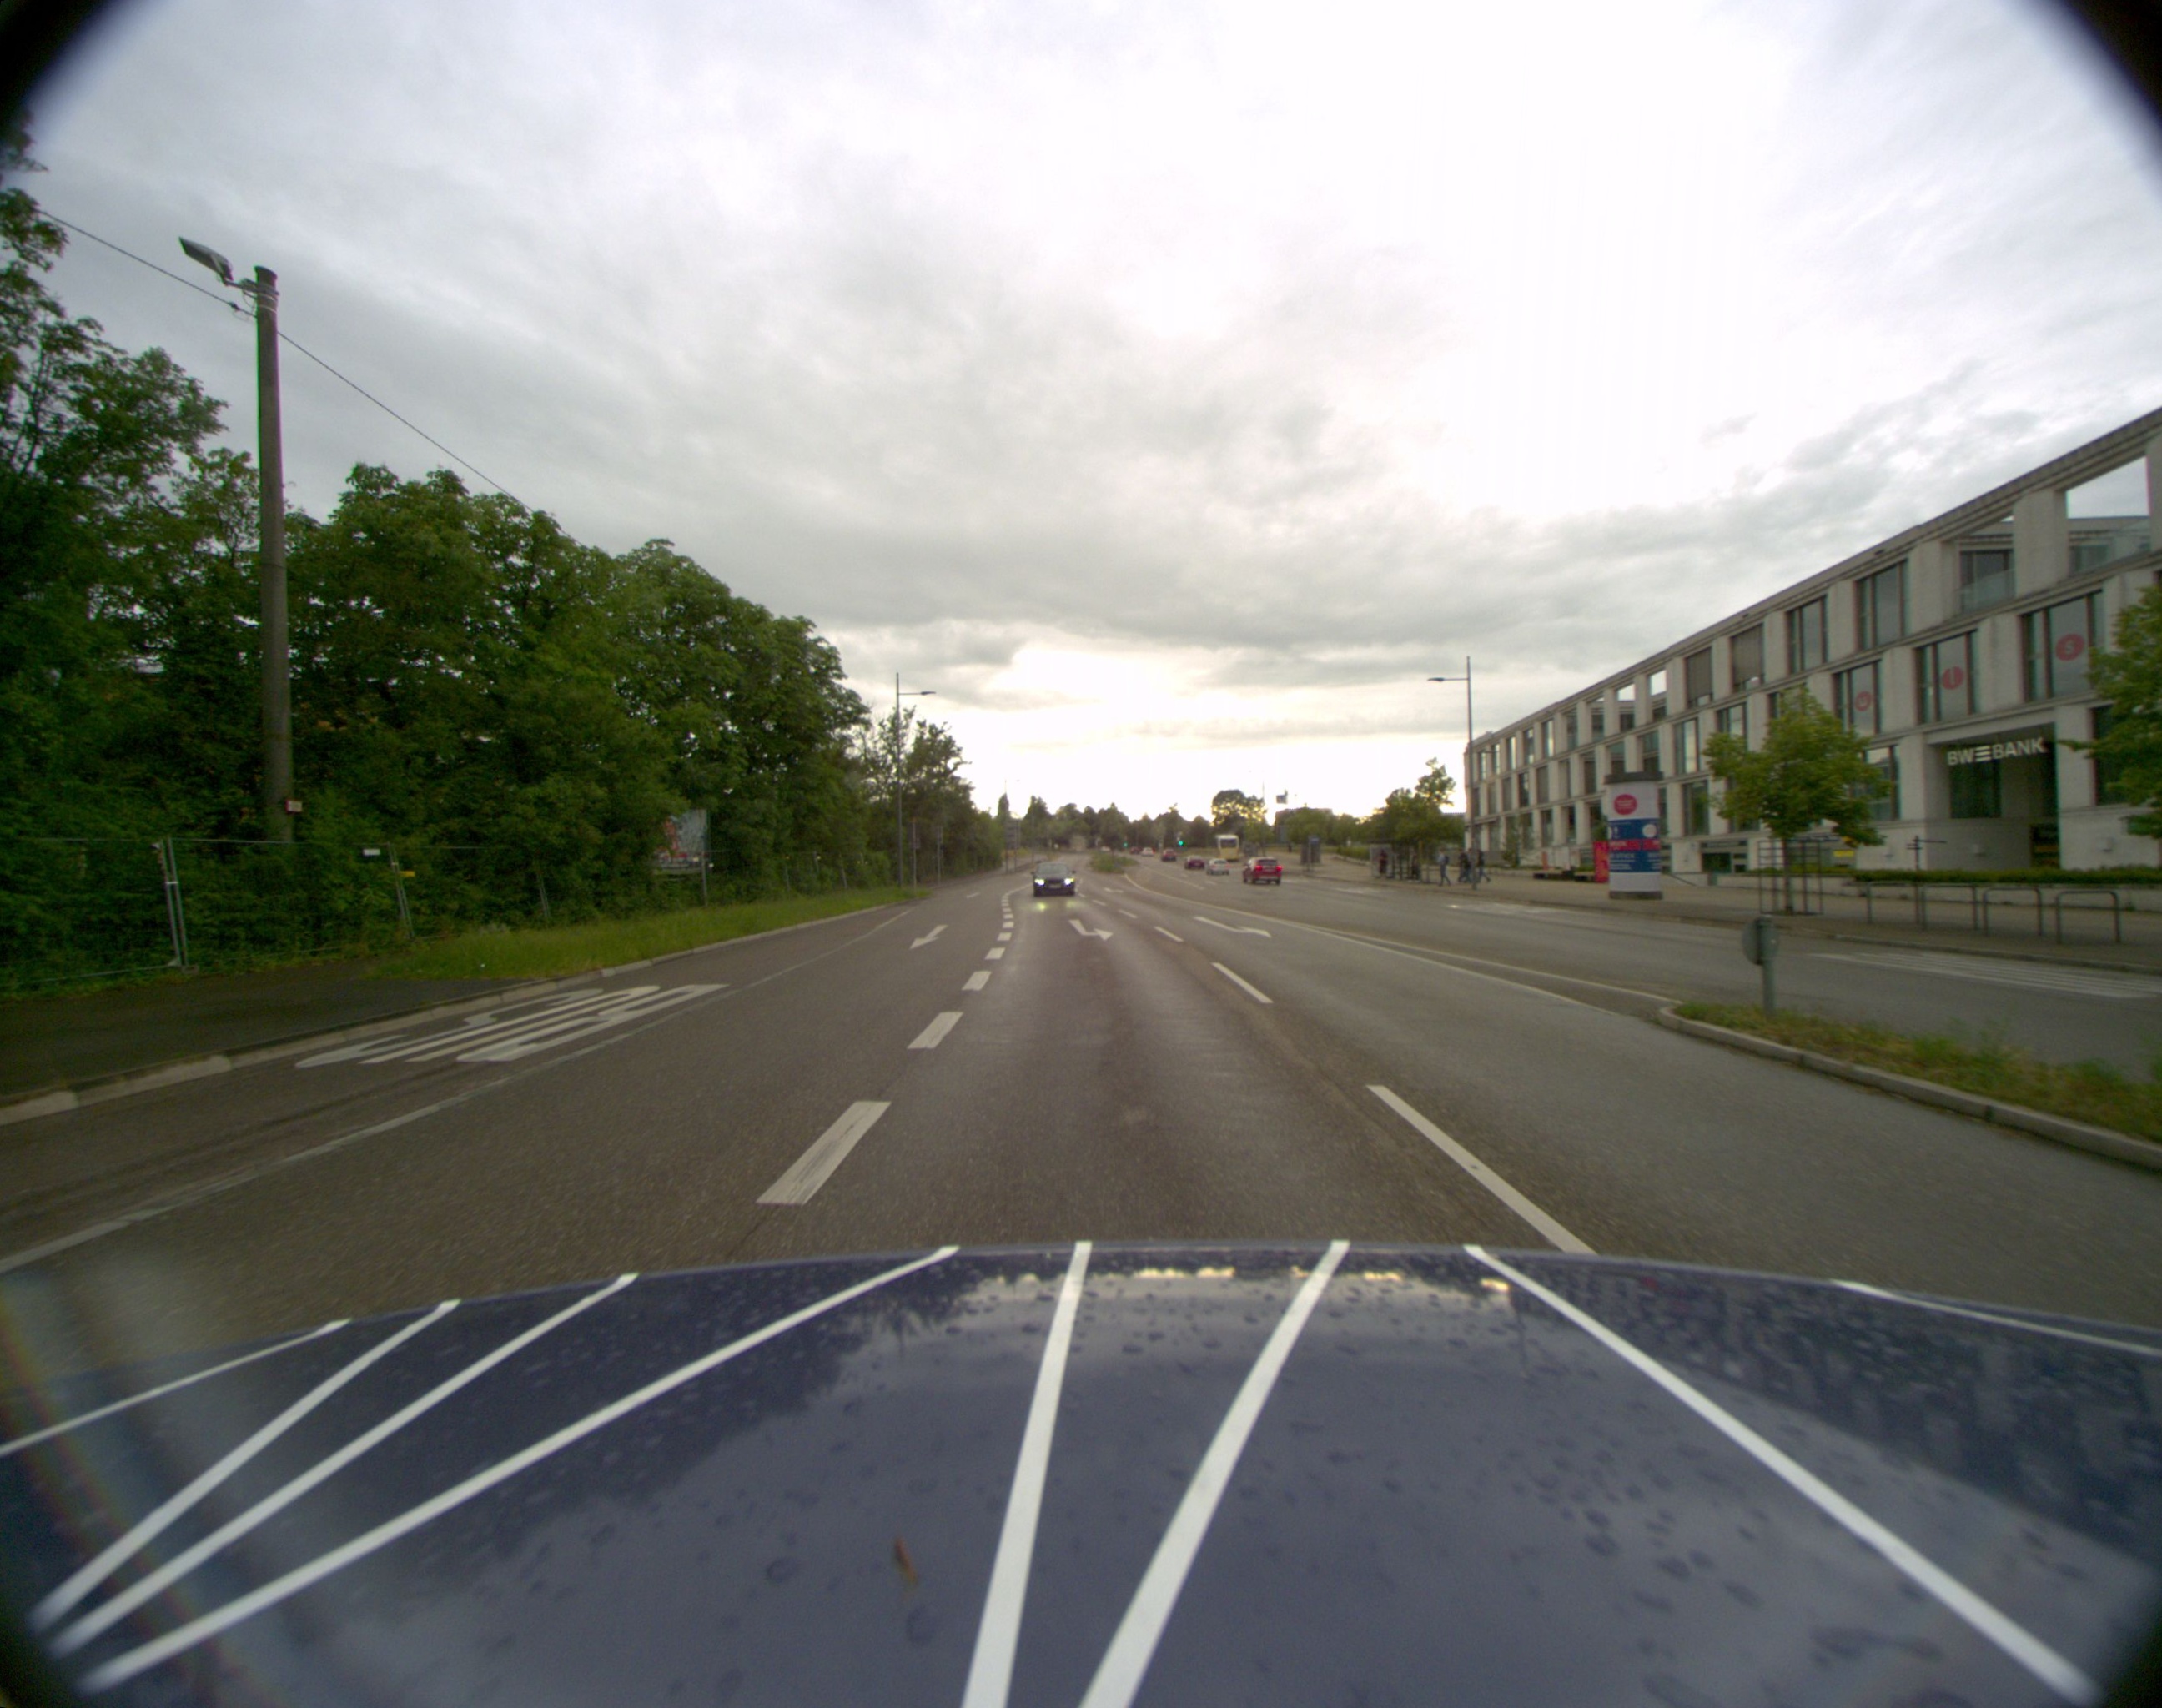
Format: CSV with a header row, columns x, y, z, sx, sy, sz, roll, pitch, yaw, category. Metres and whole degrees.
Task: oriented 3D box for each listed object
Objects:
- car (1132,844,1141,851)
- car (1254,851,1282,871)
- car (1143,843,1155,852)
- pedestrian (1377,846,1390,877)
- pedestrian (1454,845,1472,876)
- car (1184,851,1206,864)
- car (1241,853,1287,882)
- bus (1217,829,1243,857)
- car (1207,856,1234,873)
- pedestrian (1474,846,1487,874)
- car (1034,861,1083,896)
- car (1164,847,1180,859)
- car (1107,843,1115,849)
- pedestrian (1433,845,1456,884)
x,y,z,sx,sy,sz,roll,pitch,yaw,category
11.586,-1.378,158.513,1.851,1.454,3.866,0,1,1,car
15.748,0.585,64.177,1.617,1.499,2.972,-2,1,1,car
12.447,-1.193,138.493,1.877,1.422,4.175,1,1,1,car
18.178,0.438,45.684,0.508,1.832,0.755,-1,1,1,pedestrian
21.903,0.343,43.601,0.600,1.752,0.857,-1,1,4,pedestrian
12.364,0.381,82.732,1.836,1.408,4.465,1,0,1,car
11.640,0.822,48.645,1.857,1.673,4.738,1,0,1,car
19.802,-1.509,101.286,2.827,3.453,8.233,-2,2,9,bus
12.396,0.885,67.616,1.766,1.408,3.879,1,0,1,car
20.930,0.293,39.804,0.427,1.443,0.510,-1,1,2,pedestrian
-1.060,1.048,33.856,1.990,1.391,4.175,-2,0,-3,car
13.079,-0.212,109.048,1.836,1.563,4.593,1,1,1,car
7.746,-2.152,198.036,1.998,1.410,4.512,-2,1,1,car
17.755,0.506,37.103,0.755,1.832,0.746,-1,1,4,pedestrian
